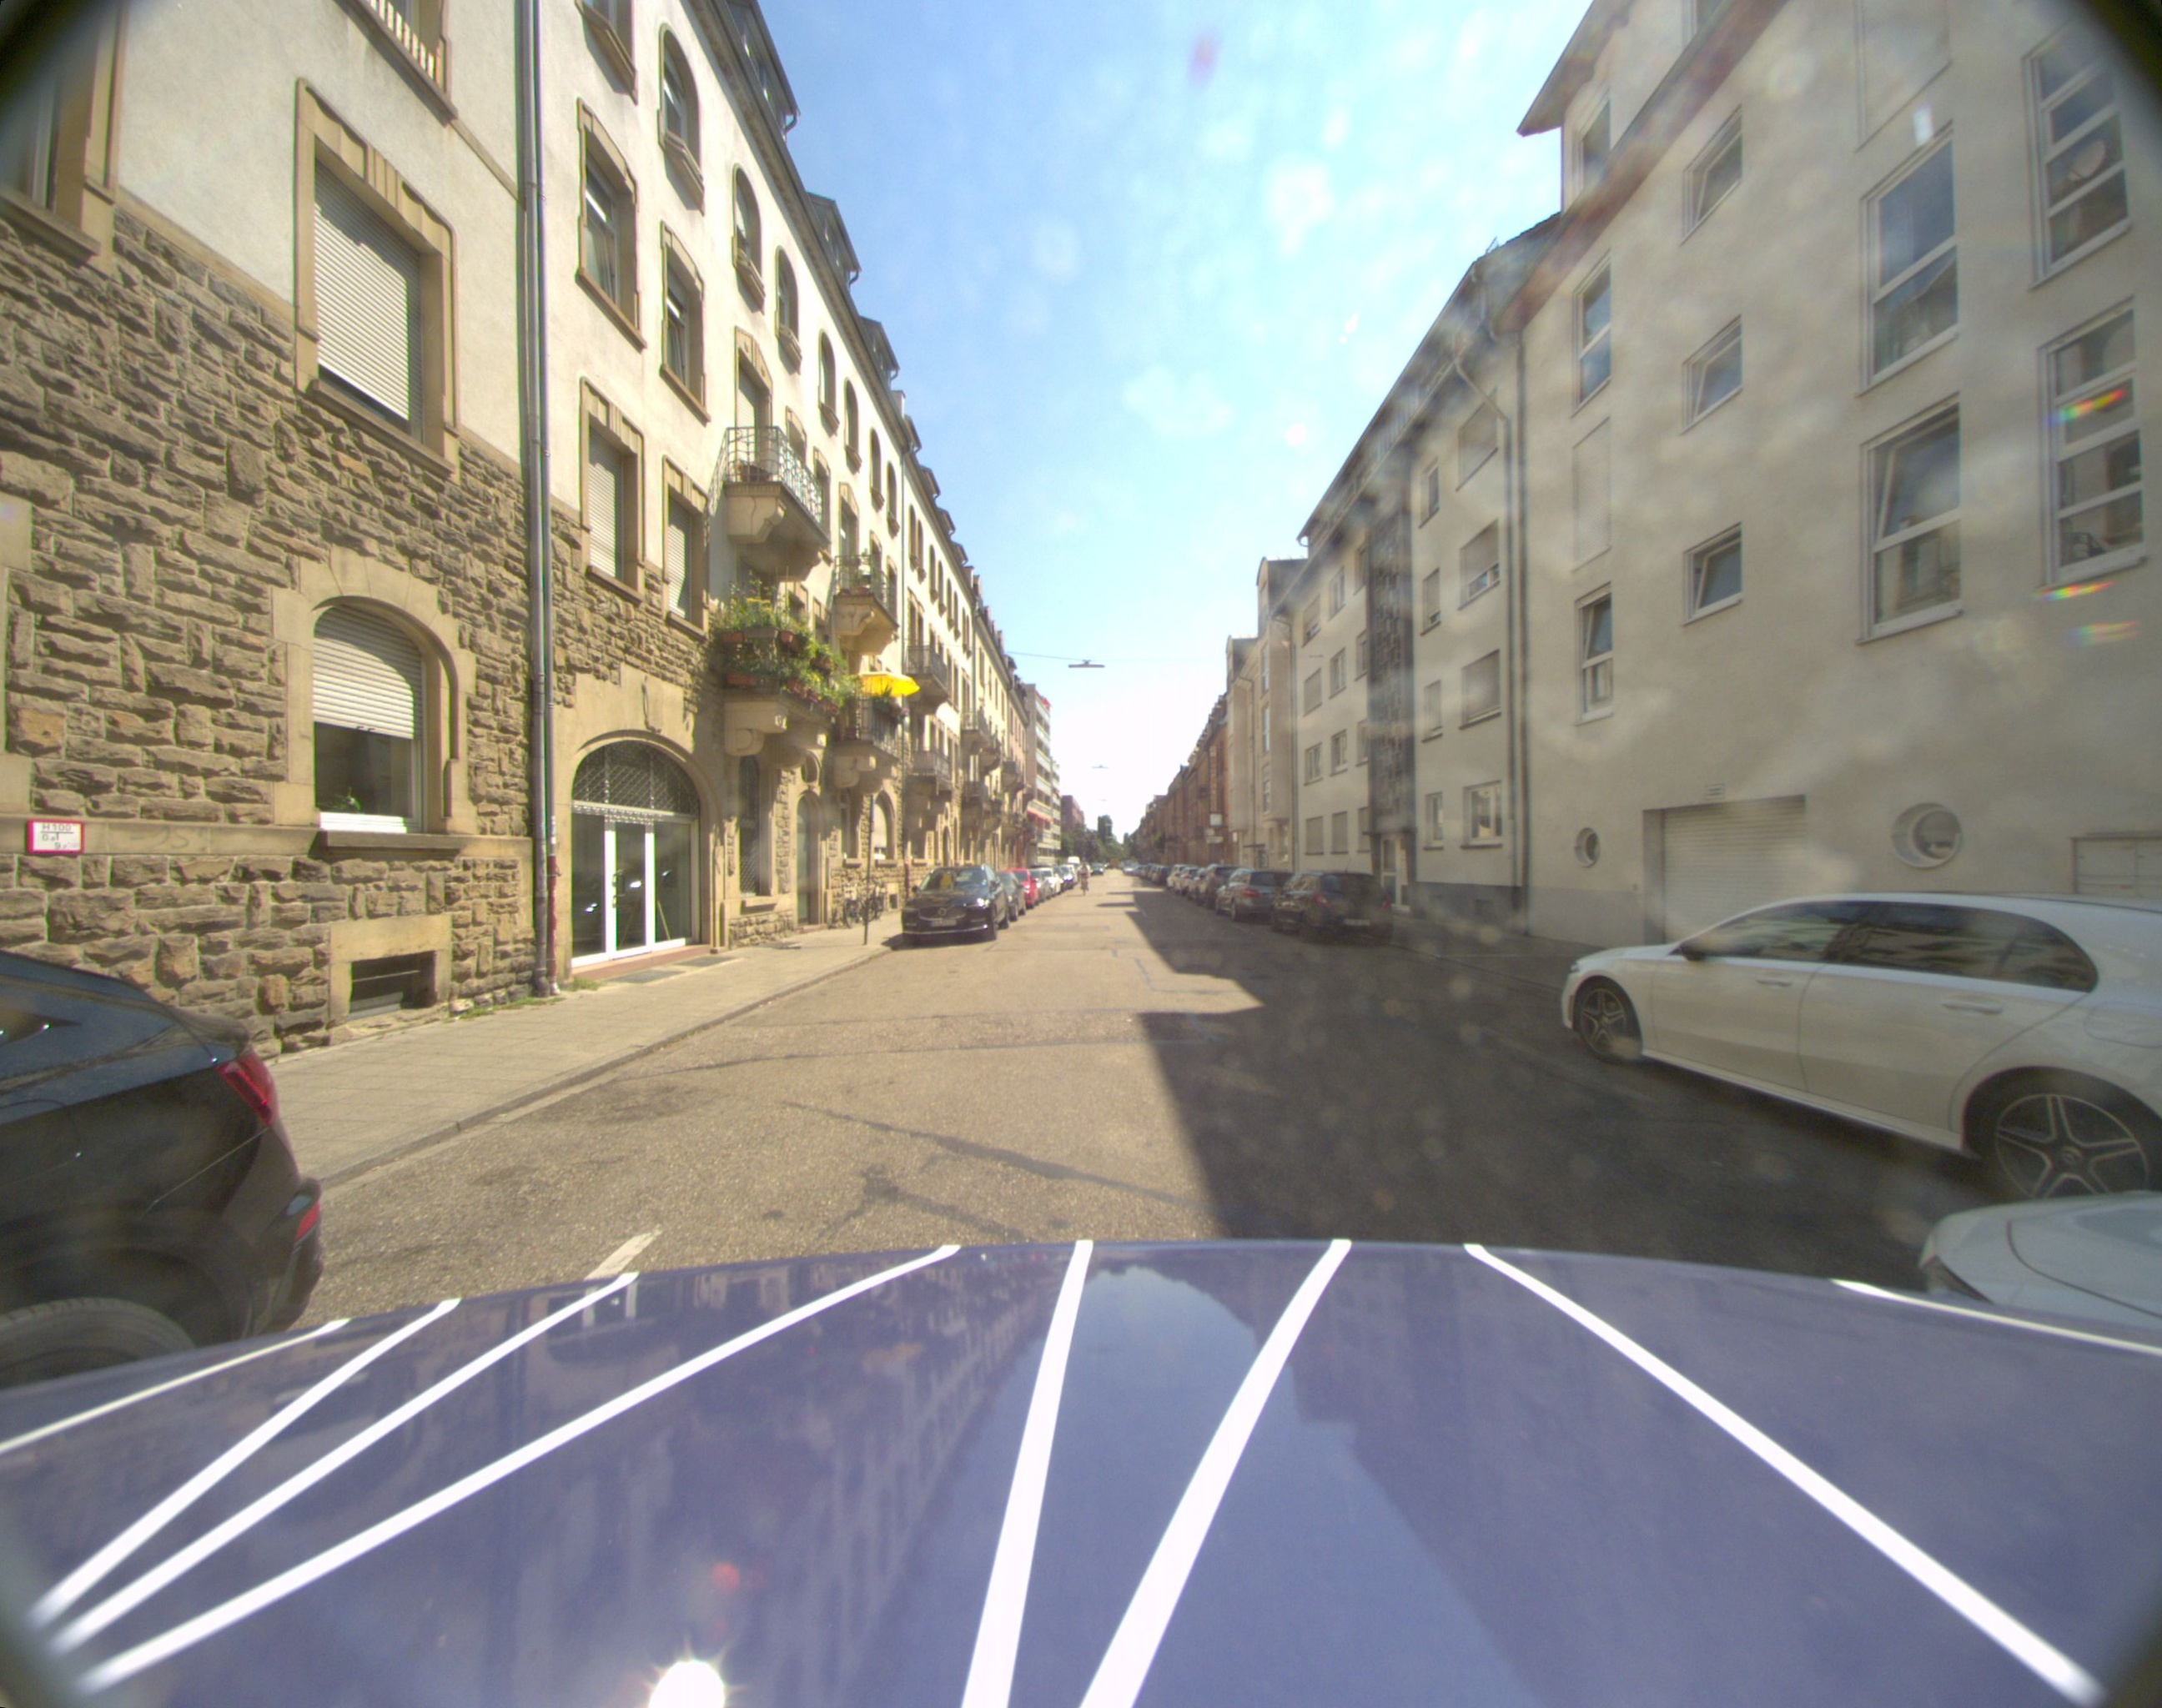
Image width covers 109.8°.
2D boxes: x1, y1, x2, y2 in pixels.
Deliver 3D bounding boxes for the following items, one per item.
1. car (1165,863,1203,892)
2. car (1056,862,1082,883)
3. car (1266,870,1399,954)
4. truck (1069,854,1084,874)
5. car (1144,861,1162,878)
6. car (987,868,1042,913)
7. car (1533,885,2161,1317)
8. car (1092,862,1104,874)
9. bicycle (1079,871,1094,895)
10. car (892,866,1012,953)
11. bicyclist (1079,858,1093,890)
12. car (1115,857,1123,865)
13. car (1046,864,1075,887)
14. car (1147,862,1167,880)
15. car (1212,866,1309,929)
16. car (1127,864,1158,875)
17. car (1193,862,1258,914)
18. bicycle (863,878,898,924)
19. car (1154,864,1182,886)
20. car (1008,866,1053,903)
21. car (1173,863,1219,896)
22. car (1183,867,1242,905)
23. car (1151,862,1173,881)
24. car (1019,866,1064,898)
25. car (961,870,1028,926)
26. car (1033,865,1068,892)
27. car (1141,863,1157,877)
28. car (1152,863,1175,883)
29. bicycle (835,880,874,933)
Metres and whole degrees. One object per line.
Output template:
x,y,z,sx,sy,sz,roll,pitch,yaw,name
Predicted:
6.230,1.379,46.270,1.633,1.540,3.853,4,0,-2,car
-0.914,1.459,61.391,1.651,1.612,4.093,0,0,6,car
5.239,1.140,16.342,1.571,1.483,3.894,2,0,1,car
-0.634,1.425,107.763,1.869,2.715,4.508,0,0,2,truck
7.327,1.560,77.681,1.450,1.633,3.526,4,0,1,car
-2.411,1.325,28.488,1.574,1.444,3.843,-2,0,1,car
4.896,1.021,4.505,1.781,1.451,4.278,2,0,-1,car
2.330,1.944,103.605,1.624,1.600,3.598,0,0,1,car
0.280,1.453,38.900,0.671,1.169,2.095,0,0,3,bicycle
-2.715,1.112,17.051,1.838,1.557,4.605,-2,0,0,car
0.258,1.031,39.033,0.645,1.640,0.622,0,0,2,bicyclist
9.891,1.703,197.000,1.784,2.002,4.001,-1,0,5,car
-1.335,1.408,50.714,1.828,1.423,4.489,-1,-1,0,car
7.152,1.588,71.484,1.450,1.464,3.526,4,0,0,car
4.977,1.147,21.709,1.660,1.509,4.671,2,0,1,car
8.080,2.006,99.351,3.996,1.422,1.678,0,0,3,car
5.098,1.143,27.266,1.607,1.634,3.977,2,0,1,car
-5.613,1.293,21.369,0.442,1.201,1.775,0,0,3,bicycle
6.469,1.548,56.940,1.781,1.421,3.838,4,0,3,car
-2.199,1.335,34.023,1.593,1.444,3.856,-2,0,1,car
5.863,1.260,39.256,1.734,1.486,4.349,3,0,1,car
5.547,1.304,32.508,1.769,1.385,4.349,2,0,1,car
7.139,1.528,67.135,1.450,1.534,3.525,4,0,-1,car
-1.957,1.384,39.224,1.720,1.444,4.598,-2,0,4,car
-2.492,1.252,22.708,1.516,1.390,3.972,-2,0,-1,car
-1.735,1.380,44.762,1.741,1.449,4.669,0,0,2,car
7.400,1.698,82.618,1.449,1.391,3.526,4,0,2,car
6.725,1.524,62.275,1.632,1.421,3.679,4,0,3,car
-5.637,1.289,18.992,0.385,1.201,1.775,0,0,3,bicycle
